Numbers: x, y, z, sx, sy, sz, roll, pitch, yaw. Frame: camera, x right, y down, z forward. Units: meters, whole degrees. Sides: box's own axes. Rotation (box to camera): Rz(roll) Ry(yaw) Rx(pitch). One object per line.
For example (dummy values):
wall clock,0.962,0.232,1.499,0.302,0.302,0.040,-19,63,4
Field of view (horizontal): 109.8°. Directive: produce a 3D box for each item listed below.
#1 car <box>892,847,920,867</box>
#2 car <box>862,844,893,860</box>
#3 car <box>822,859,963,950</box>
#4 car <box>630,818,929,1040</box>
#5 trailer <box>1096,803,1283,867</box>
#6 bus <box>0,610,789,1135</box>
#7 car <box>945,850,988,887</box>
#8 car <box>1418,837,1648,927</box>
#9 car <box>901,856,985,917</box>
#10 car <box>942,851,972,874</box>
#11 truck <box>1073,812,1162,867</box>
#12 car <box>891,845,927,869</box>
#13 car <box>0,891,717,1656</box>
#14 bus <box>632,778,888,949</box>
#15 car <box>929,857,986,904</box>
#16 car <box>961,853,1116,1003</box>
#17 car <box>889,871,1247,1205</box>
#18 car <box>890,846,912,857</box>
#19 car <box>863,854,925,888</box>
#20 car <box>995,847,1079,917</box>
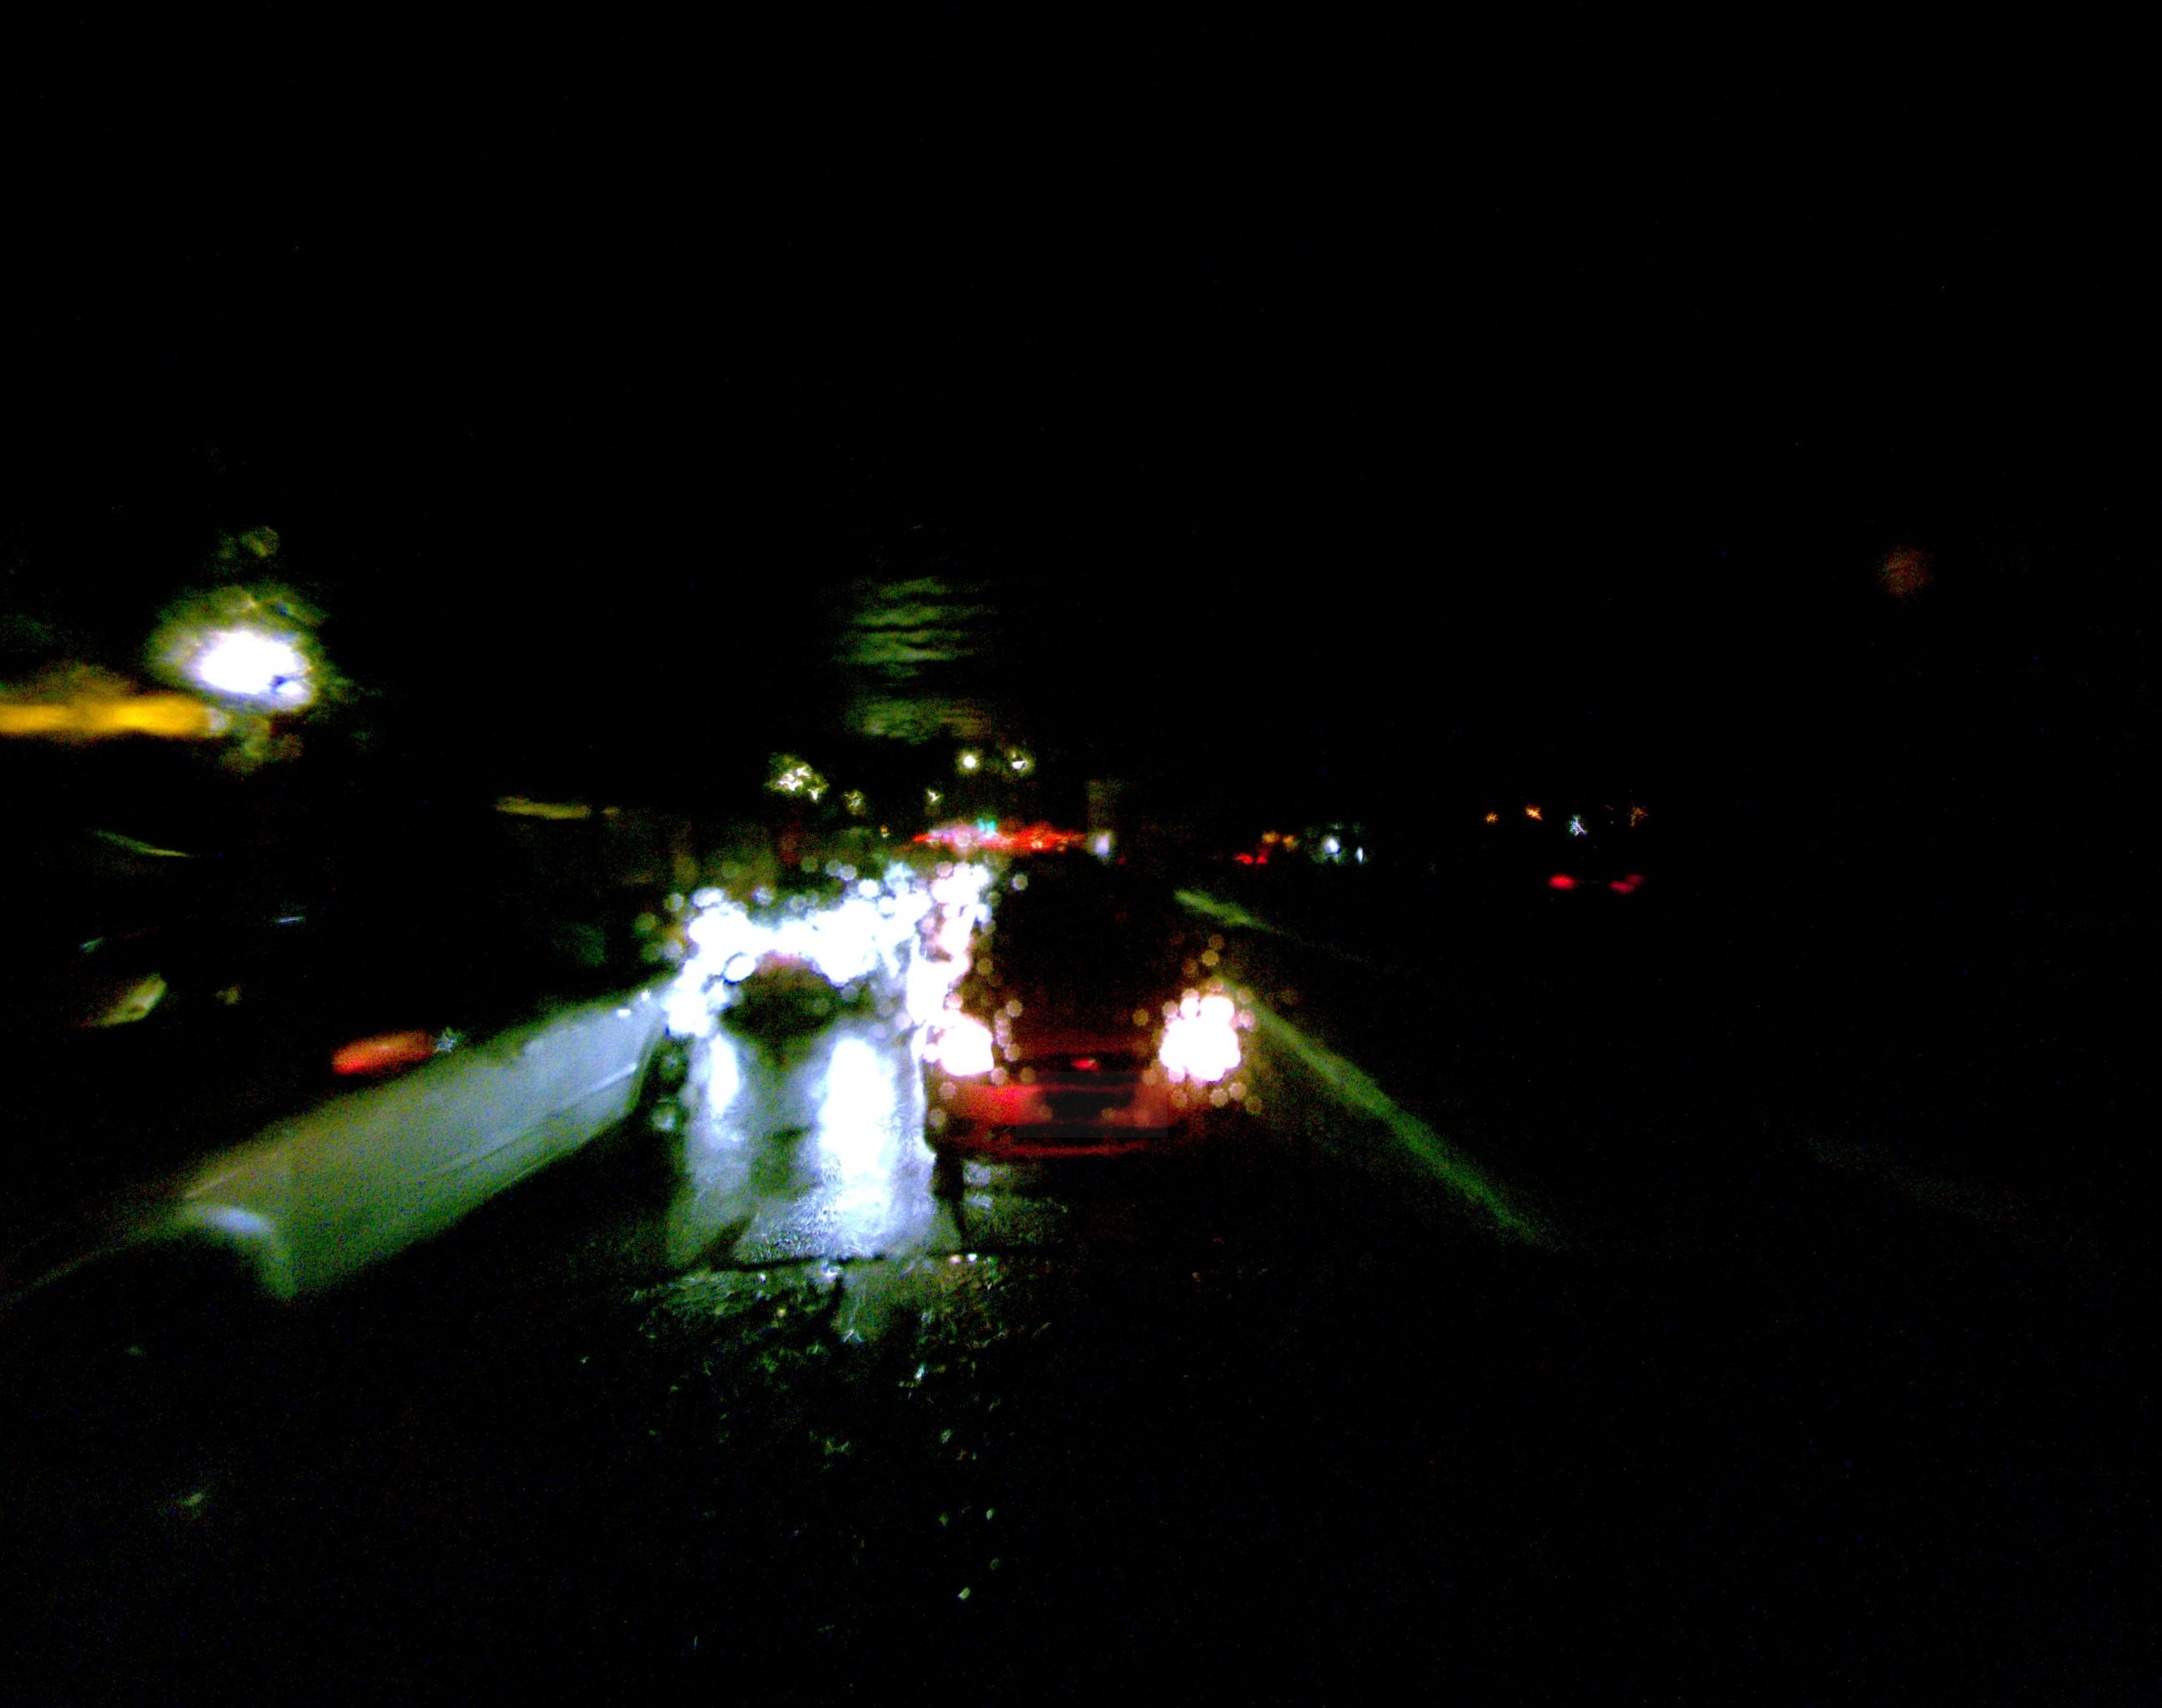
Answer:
car,-13.201,0.228,57.528,1.854,1.447,4.497,-1,0,-11
car,-19.407,-0.183,72.440,1.856,1.423,4.491,-3,2,-28
car,-3.727,0.933,15.715,1.869,1.503,3.766,-2,1,1
car,-3.357,0.708,9.552,1.999,2.076,4.347,-2,1,-1
trailer,7.653,-1.227,56.367,13.881,4.152,3.977,-2,1,44
bus,-6.652,0.135,9.402,2.777,3.105,9.758,-2,0,-4
car,-5.371,0.648,36.021,1.743,1.581,3.997,-2,1,-6
car,10.189,0.536,17.700,1.971,1.731,4.915,-2,1,-7
car,-3.907,0.880,22.147,1.629,1.494,3.999,-2,1,1
car,-8.607,0.534,52.418,1.883,1.463,3.996,-2,1,-11
truck,2.890,-1.095,61.164,3.976,4.152,6.360,-3,1,-34
car,-11.076,0.206,49.235,1.854,1.476,4.626,-1,0,-8
car,-3.174,0.996,2.654,1.792,1.359,3.999,-2,2,0
bus,-7.258,0.184,19.169,2.777,3.105,9.758,-2,0,-4
car,-4.384,0.891,27.447,1.683,1.463,3.998,-2,1,-5
car,-0.454,0.840,10.592,1.683,1.591,3.996,-2,1,1
car,-0.034,0.897,5.482,1.603,1.360,3.942,-2,1,1
car,-27.098,-0.397,114.404,2.003,1.596,3.990,-3,1,-32
car,-9.031,0.780,37.081,1.842,1.469,4.628,-2,1,0
car,-1.097,0.634,19.677,1.881,1.534,3.999,-2,1,-2
